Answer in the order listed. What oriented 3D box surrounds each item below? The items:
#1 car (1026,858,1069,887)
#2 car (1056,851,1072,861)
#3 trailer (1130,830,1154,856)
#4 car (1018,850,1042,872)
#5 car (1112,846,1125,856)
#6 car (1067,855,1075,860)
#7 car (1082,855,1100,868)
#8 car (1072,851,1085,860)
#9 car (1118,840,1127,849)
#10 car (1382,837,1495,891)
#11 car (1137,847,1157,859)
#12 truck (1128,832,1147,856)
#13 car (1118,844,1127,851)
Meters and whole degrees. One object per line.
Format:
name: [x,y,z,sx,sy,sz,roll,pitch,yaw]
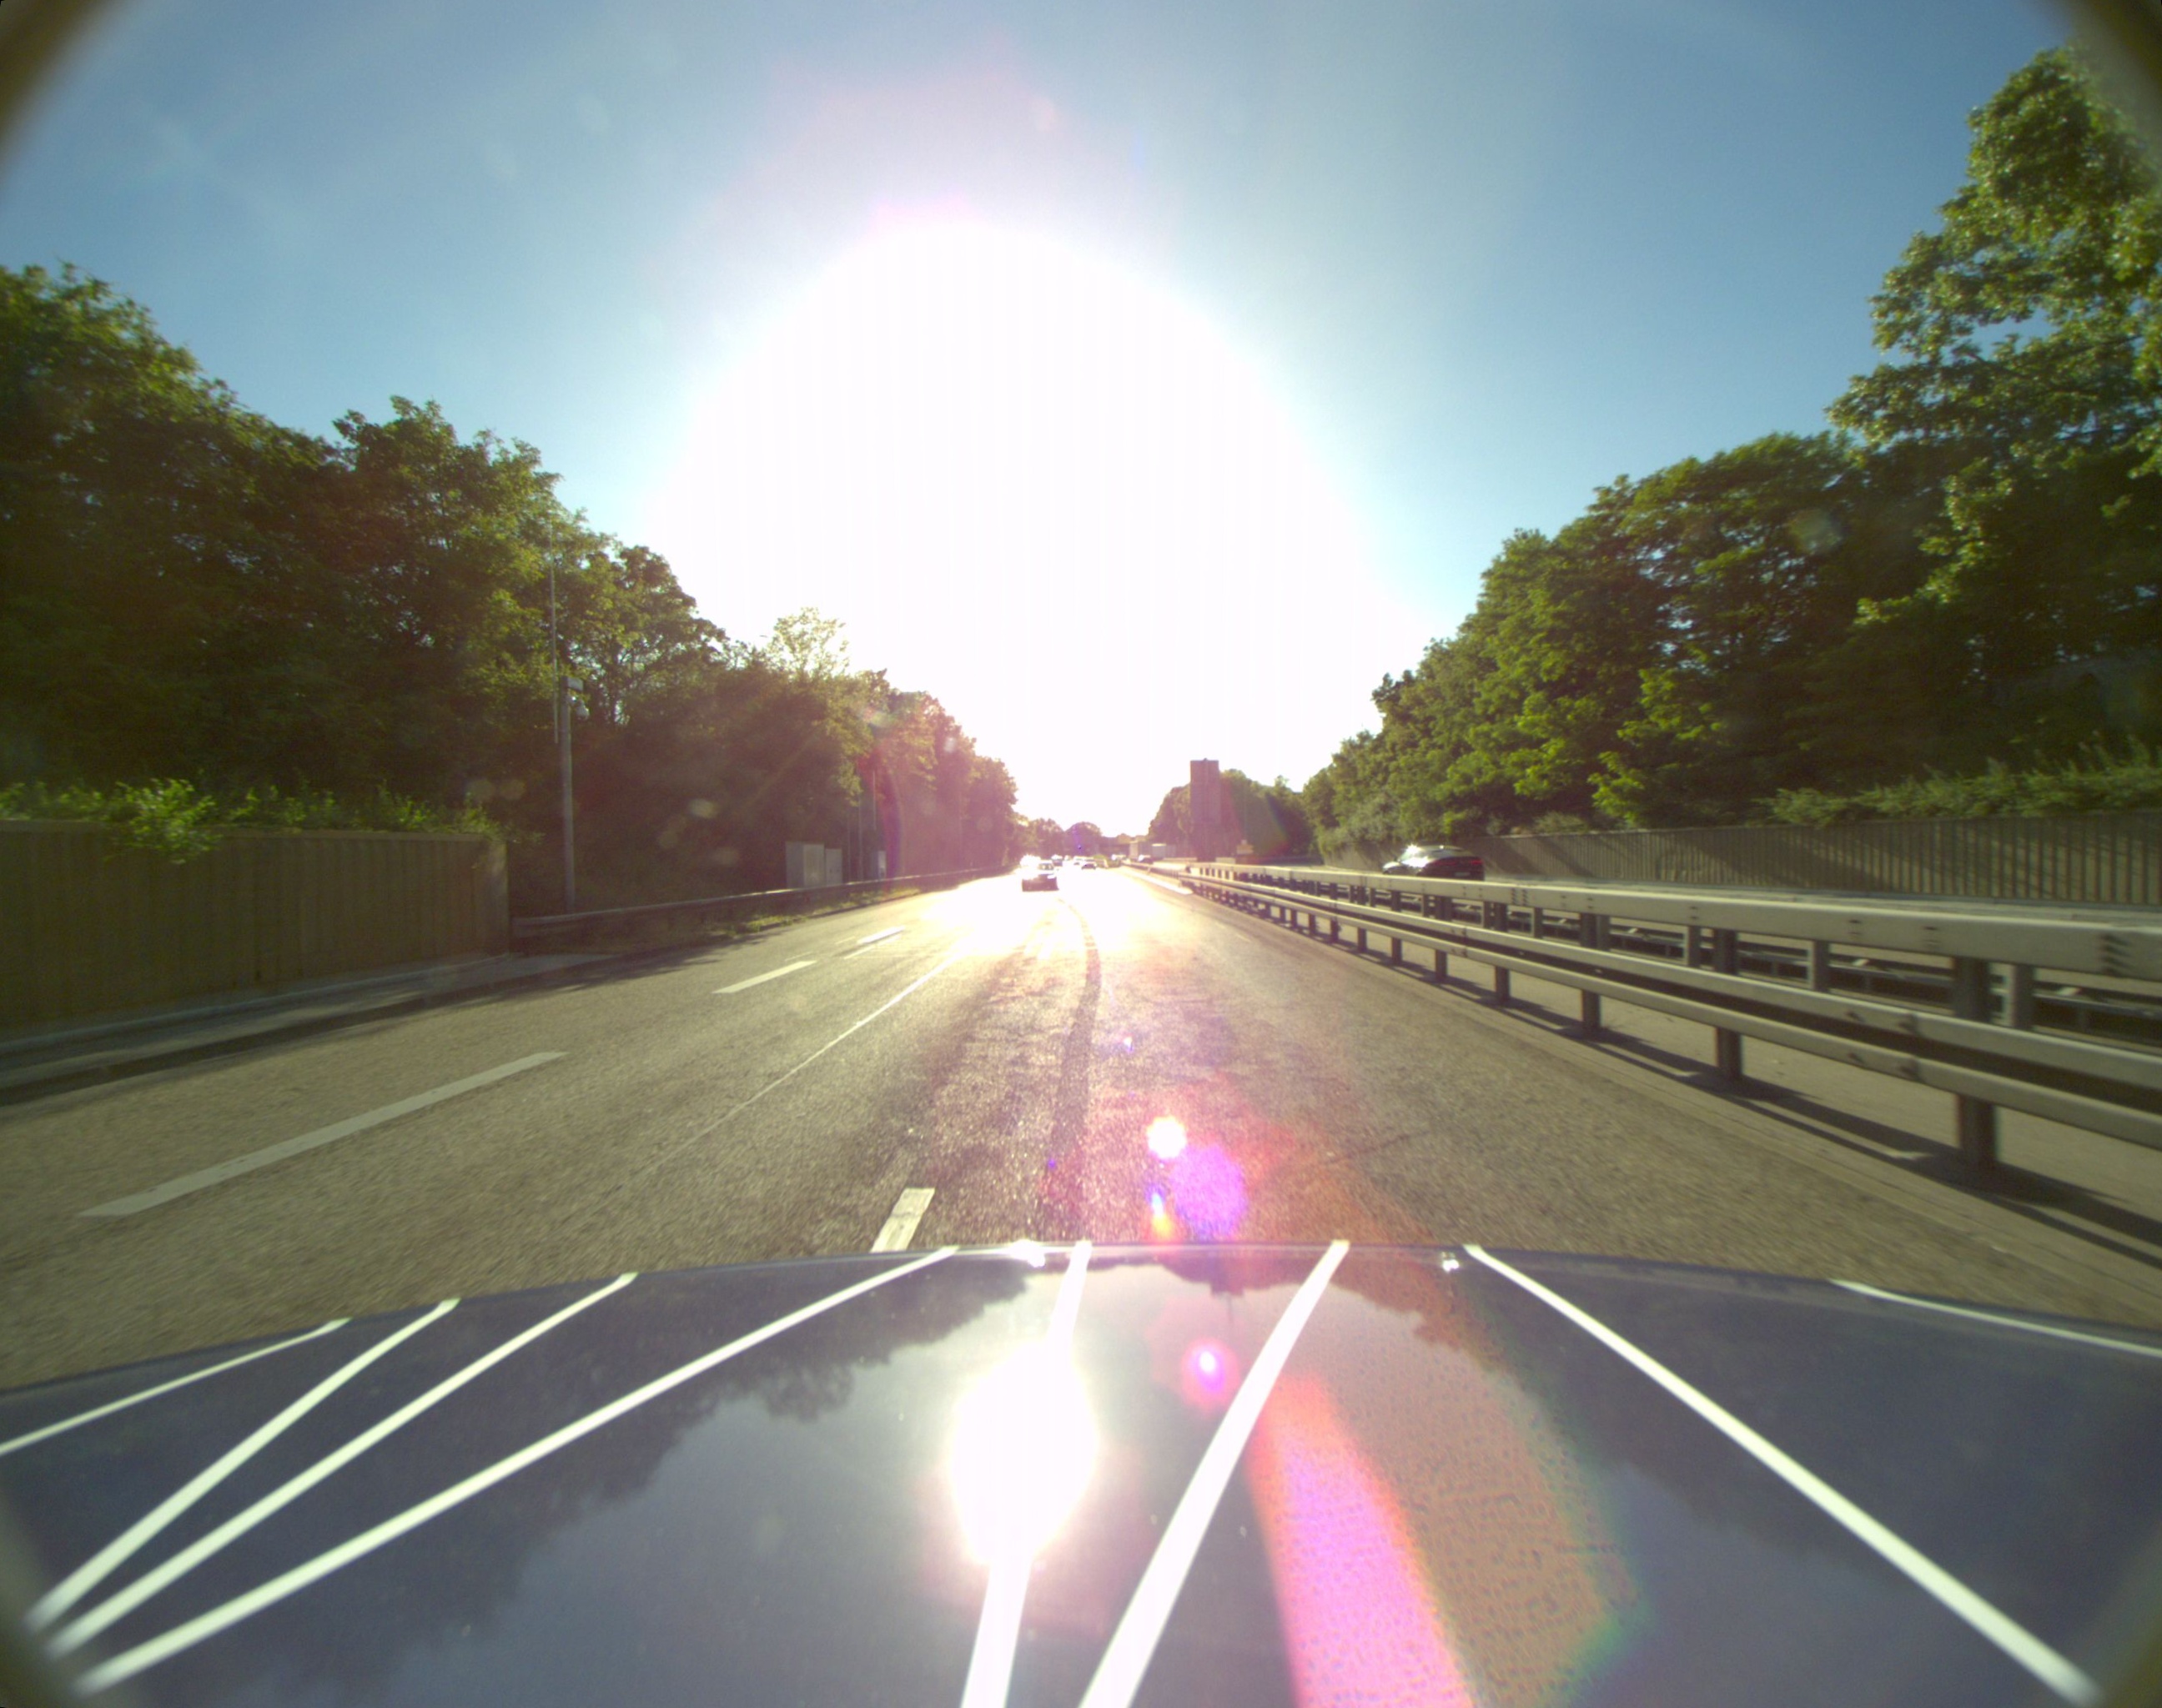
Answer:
car: [-1.762,0.966,41.511,1.998,1.406,4.830,-1,0,1]
car: [-2.517,0.256,111.377,1.998,1.406,4.831,-2,0,2]
trailer: [11.130,-1.971,141.106,2.755,4.255,14.083,-4,0,-1]
car: [-4.182,0.607,62.472,1.746,1.652,3.999,-4,0,-3]
car: [7.066,-0.542,142.974,1.999,1.648,4.938,-4,0,0]
car: [-2.792,0.958,221.599,1.998,1.406,4.831,-2,0,2]
car: [1.138,0.859,89.232,1.998,1.406,4.831,-2,0,1]
car: [-0.404,0.285,126.448,1.998,1.406,4.831,-2,0,2]
car: [13.113,-3.000,240.393,2.153,2.595,6.052,-4,0,0]
car: [12.695,0.354,27.355,1.671,1.665,4.863,-4,0,0]
car: [8.319,-0.094,95.921,1.999,1.477,4.199,-3,0,-1]
truck: [10.943,-1.906,147.759,2.743,4.236,6.386,-4,0,-1]
car: [11.436,-1.770,208.717,1.999,1.772,4.784,-4,0,-2]
